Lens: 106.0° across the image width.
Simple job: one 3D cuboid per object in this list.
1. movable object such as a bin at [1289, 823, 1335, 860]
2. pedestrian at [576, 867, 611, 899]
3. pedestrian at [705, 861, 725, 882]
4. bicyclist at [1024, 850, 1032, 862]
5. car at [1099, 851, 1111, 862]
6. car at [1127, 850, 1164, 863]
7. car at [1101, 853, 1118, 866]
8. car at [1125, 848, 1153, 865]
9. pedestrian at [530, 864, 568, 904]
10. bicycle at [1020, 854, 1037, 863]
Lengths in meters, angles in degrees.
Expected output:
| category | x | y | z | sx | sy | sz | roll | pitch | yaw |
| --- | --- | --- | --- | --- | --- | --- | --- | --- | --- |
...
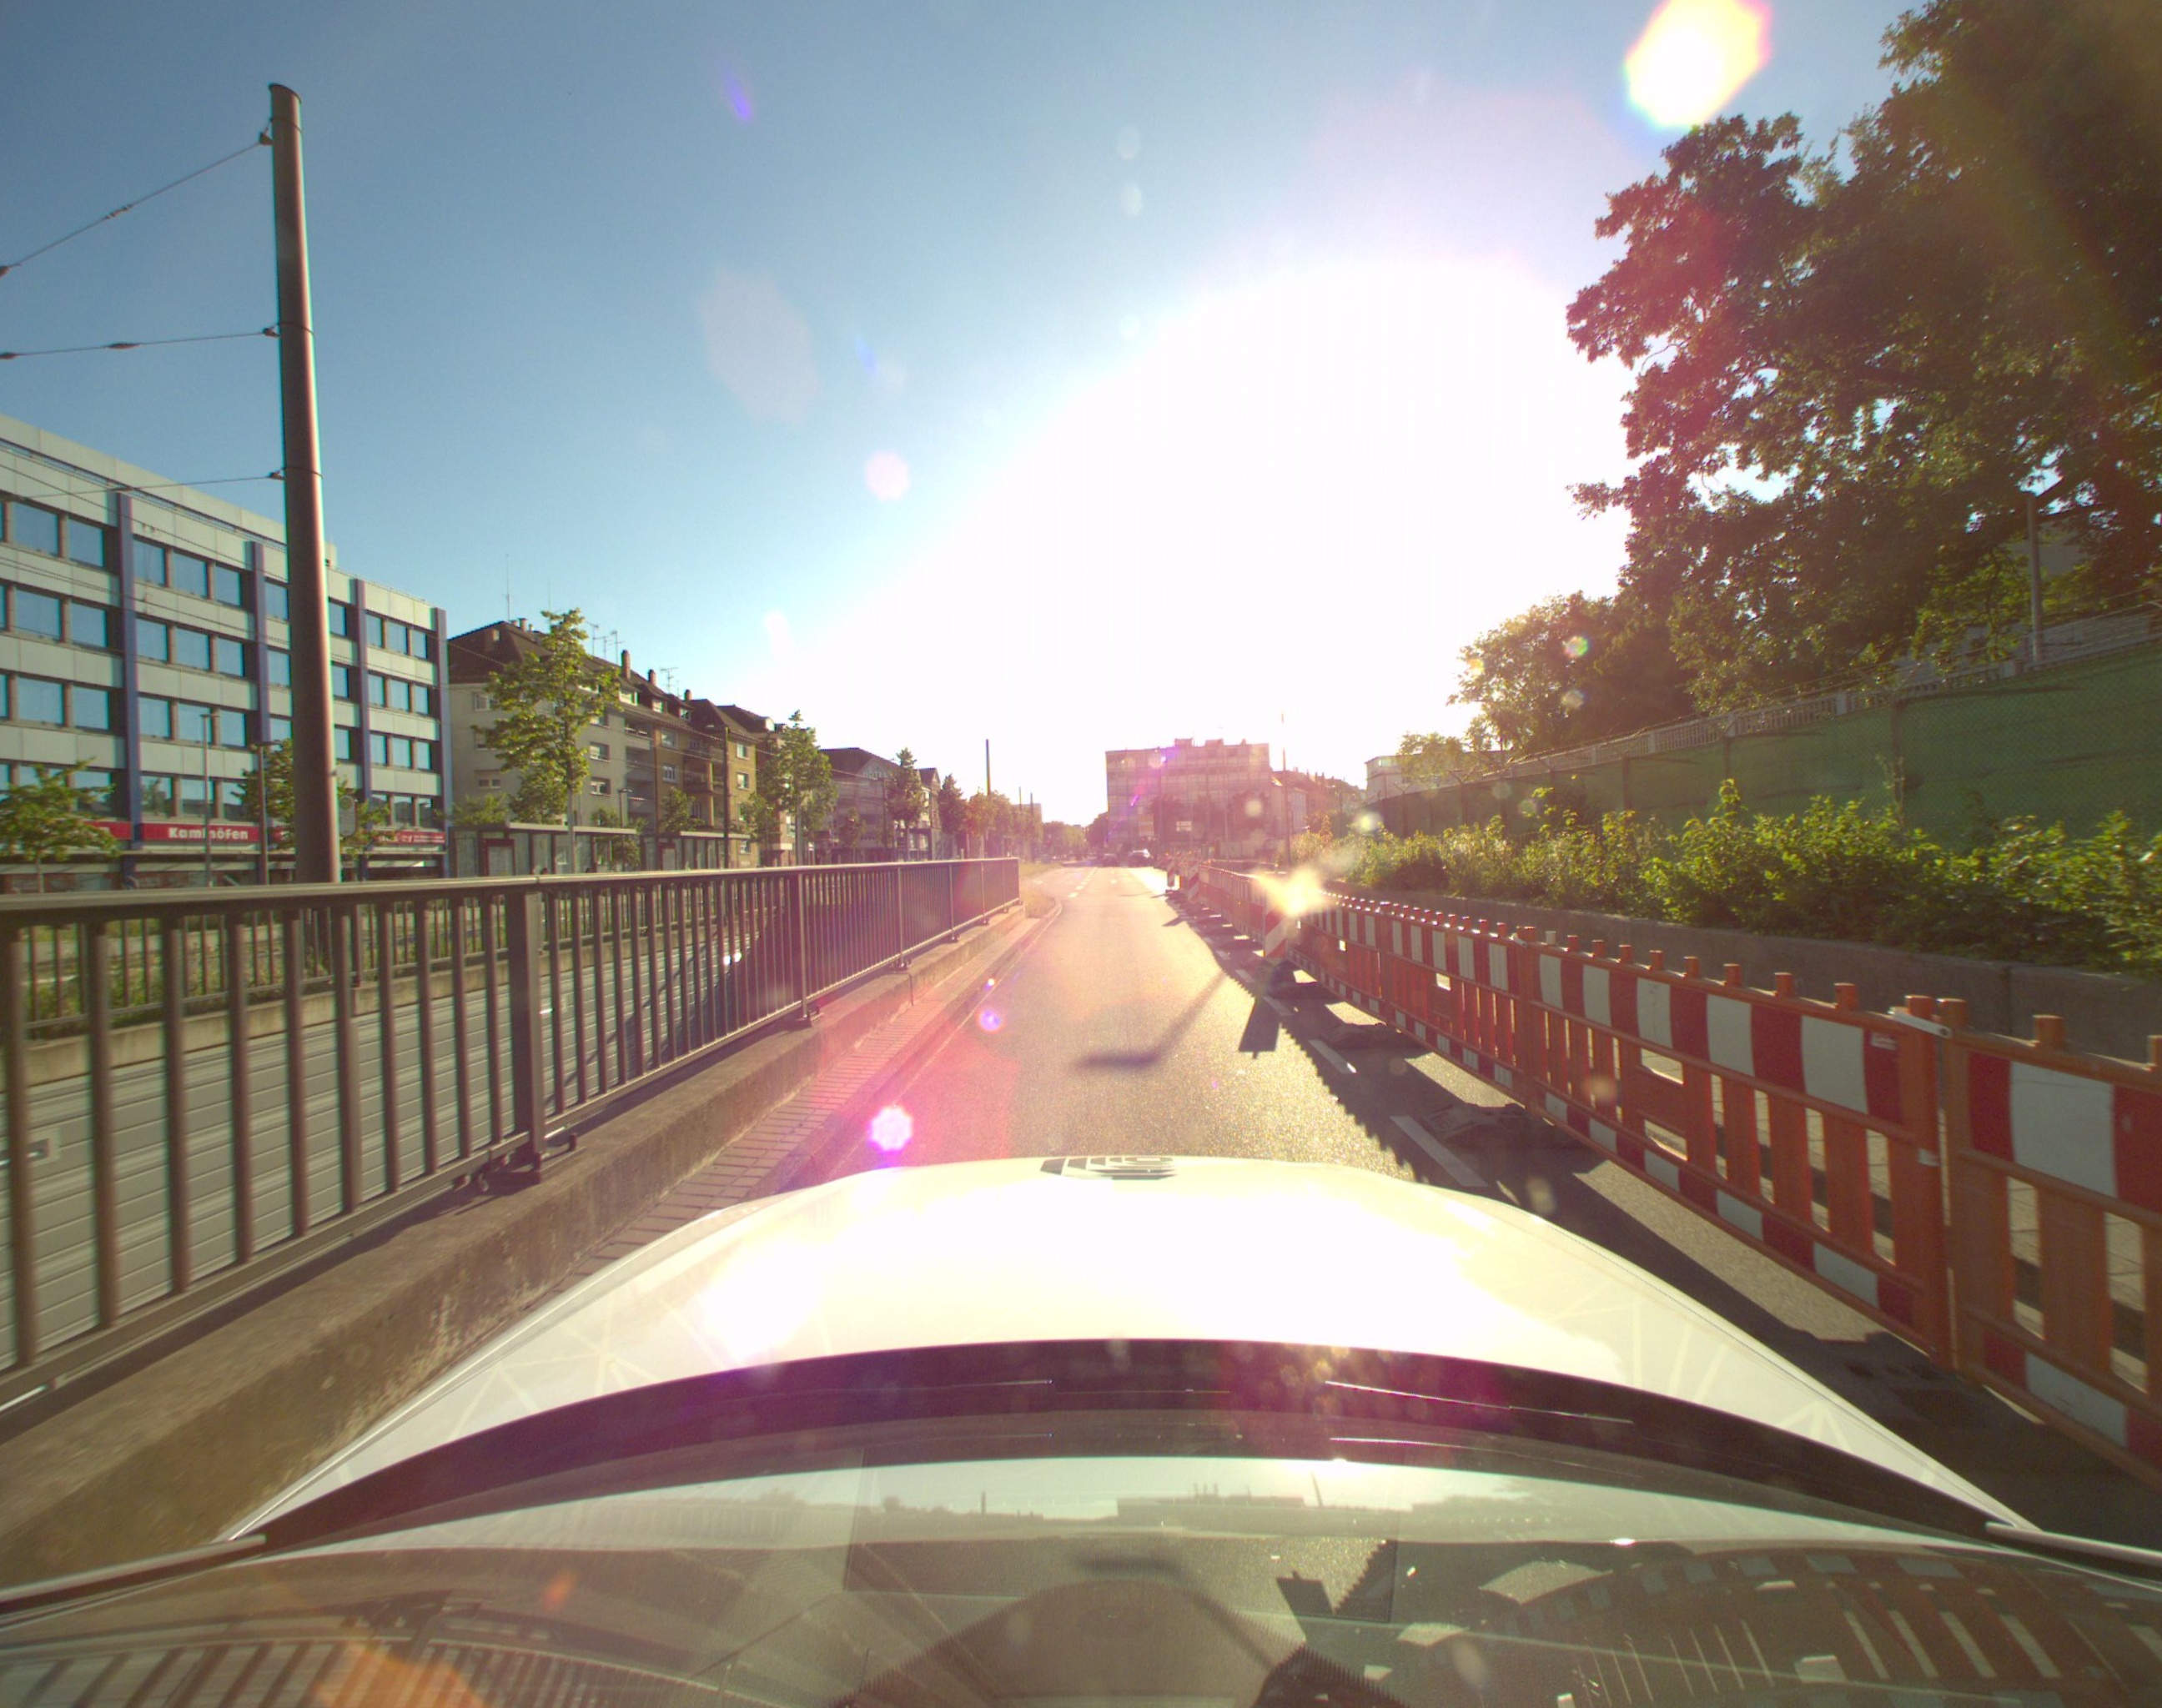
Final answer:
| category | x | y | z | sx | sy | sz | roll | pitch | yaw |
| --- | --- | --- | --- | --- | --- | --- | --- | --- | --- |
| movable object such as a bin | 18.079 | -0.967 | 63.933 | 2.267 | 2.703 | 4.943 | -2 | 0 | 1 |
| pedestrian | -19.661 | 1.165 | 32.859 | 0.930 | 1.197 | 0.764 | -2 | 0 | 1 |
| pedestrian | -19.165 | 0.930 | 42.680 | 0.625 | 1.047 | 0.794 | -2 | 0 | 1 |
| bicyclist | -7.132 | 0.281 | 110.227 | 0.954 | 1.661 | 0.692 | -2 | 0 | 4 |
| car | 5.712 | 0.646 | 194.530 | 2.477 | 2.392 | 5.935 | -4 | 0 | 1 |
| car | 8.790 | 0.331 | 110.779 | 4.784 | 1.750 | 2.007 | -1 | 0 | 13 |
| car | 3.155 | 0.603 | 90.129 | 1.738 | 1.426 | 4.000 | -2 | 0 | 0 |
| car | 6.216 | 0.235 | 86.761 | 1.977 | 1.693 | 4.020 | 0 | 1 | 20 |
| pedestrian | -19.777 | 1.095 | 30.288 | 0.835 | 1.410 | 0.804 | -2 | 0 | 1 |
| bicycle | -7.053 | 0.605 | 110.221 | 2.216 | 1.026 | 0.683 | -2 | 0 | 4 |
